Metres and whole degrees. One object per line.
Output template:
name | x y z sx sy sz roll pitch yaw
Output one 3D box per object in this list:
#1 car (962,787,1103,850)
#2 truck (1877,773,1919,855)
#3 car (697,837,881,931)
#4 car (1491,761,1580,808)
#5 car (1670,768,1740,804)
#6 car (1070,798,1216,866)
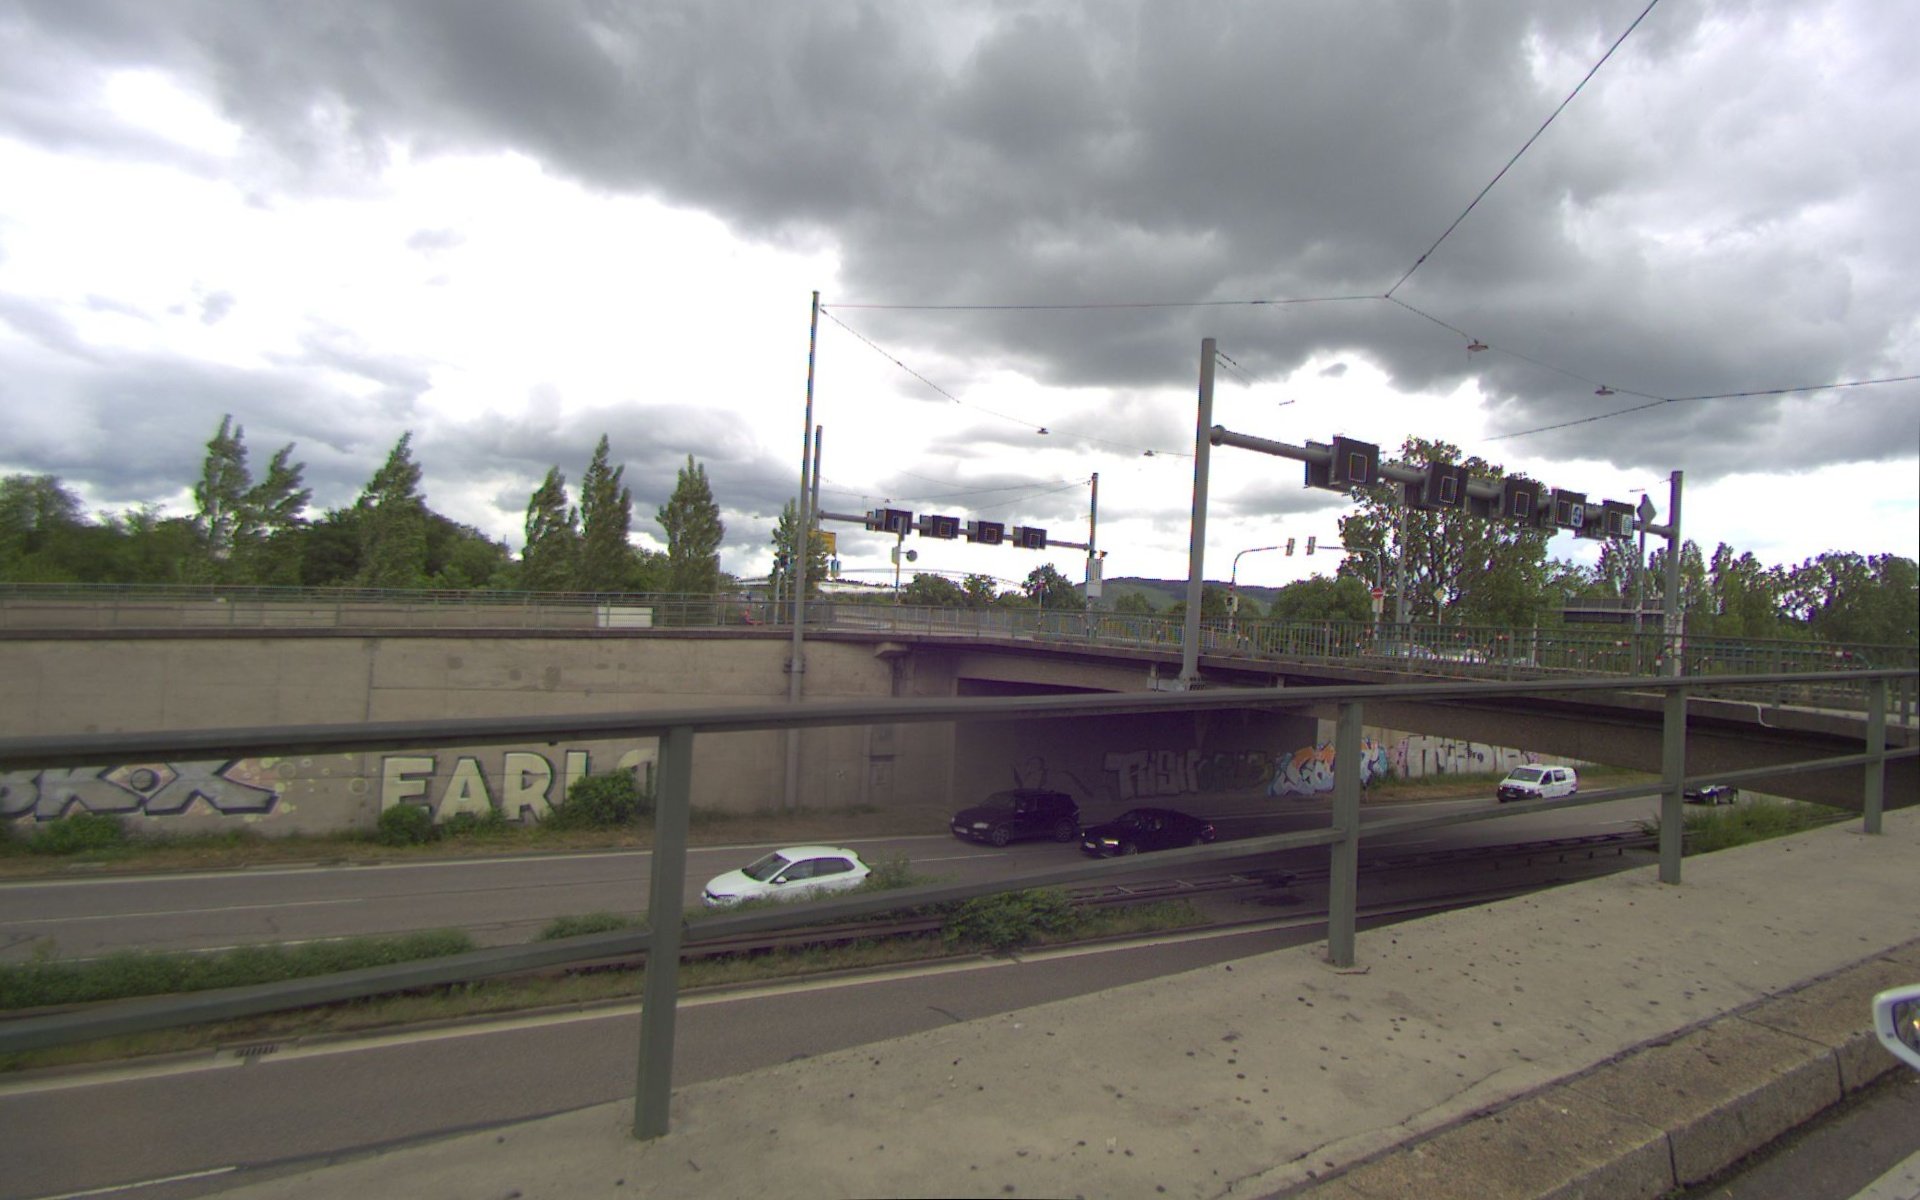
car | 2.544 7.510 34.829 4.526 1.647 1.984 4 -4 -30
truck | 42.093 9.104 42.927 7.148 3.048 2.222 4 -2 -30
car | -3.993 6.592 23.604 3.854 1.513 1.766 4 -4 -31
car | 29.360 9.355 51.196 4.858 1.932 1.936 5 -3 -33
car | 40.750 10.147 54.921 3.954 1.641 1.657 4 -4 -30
car | 6.026 7.526 32.912 4.526 1.647 1.984 4 -4 -30
